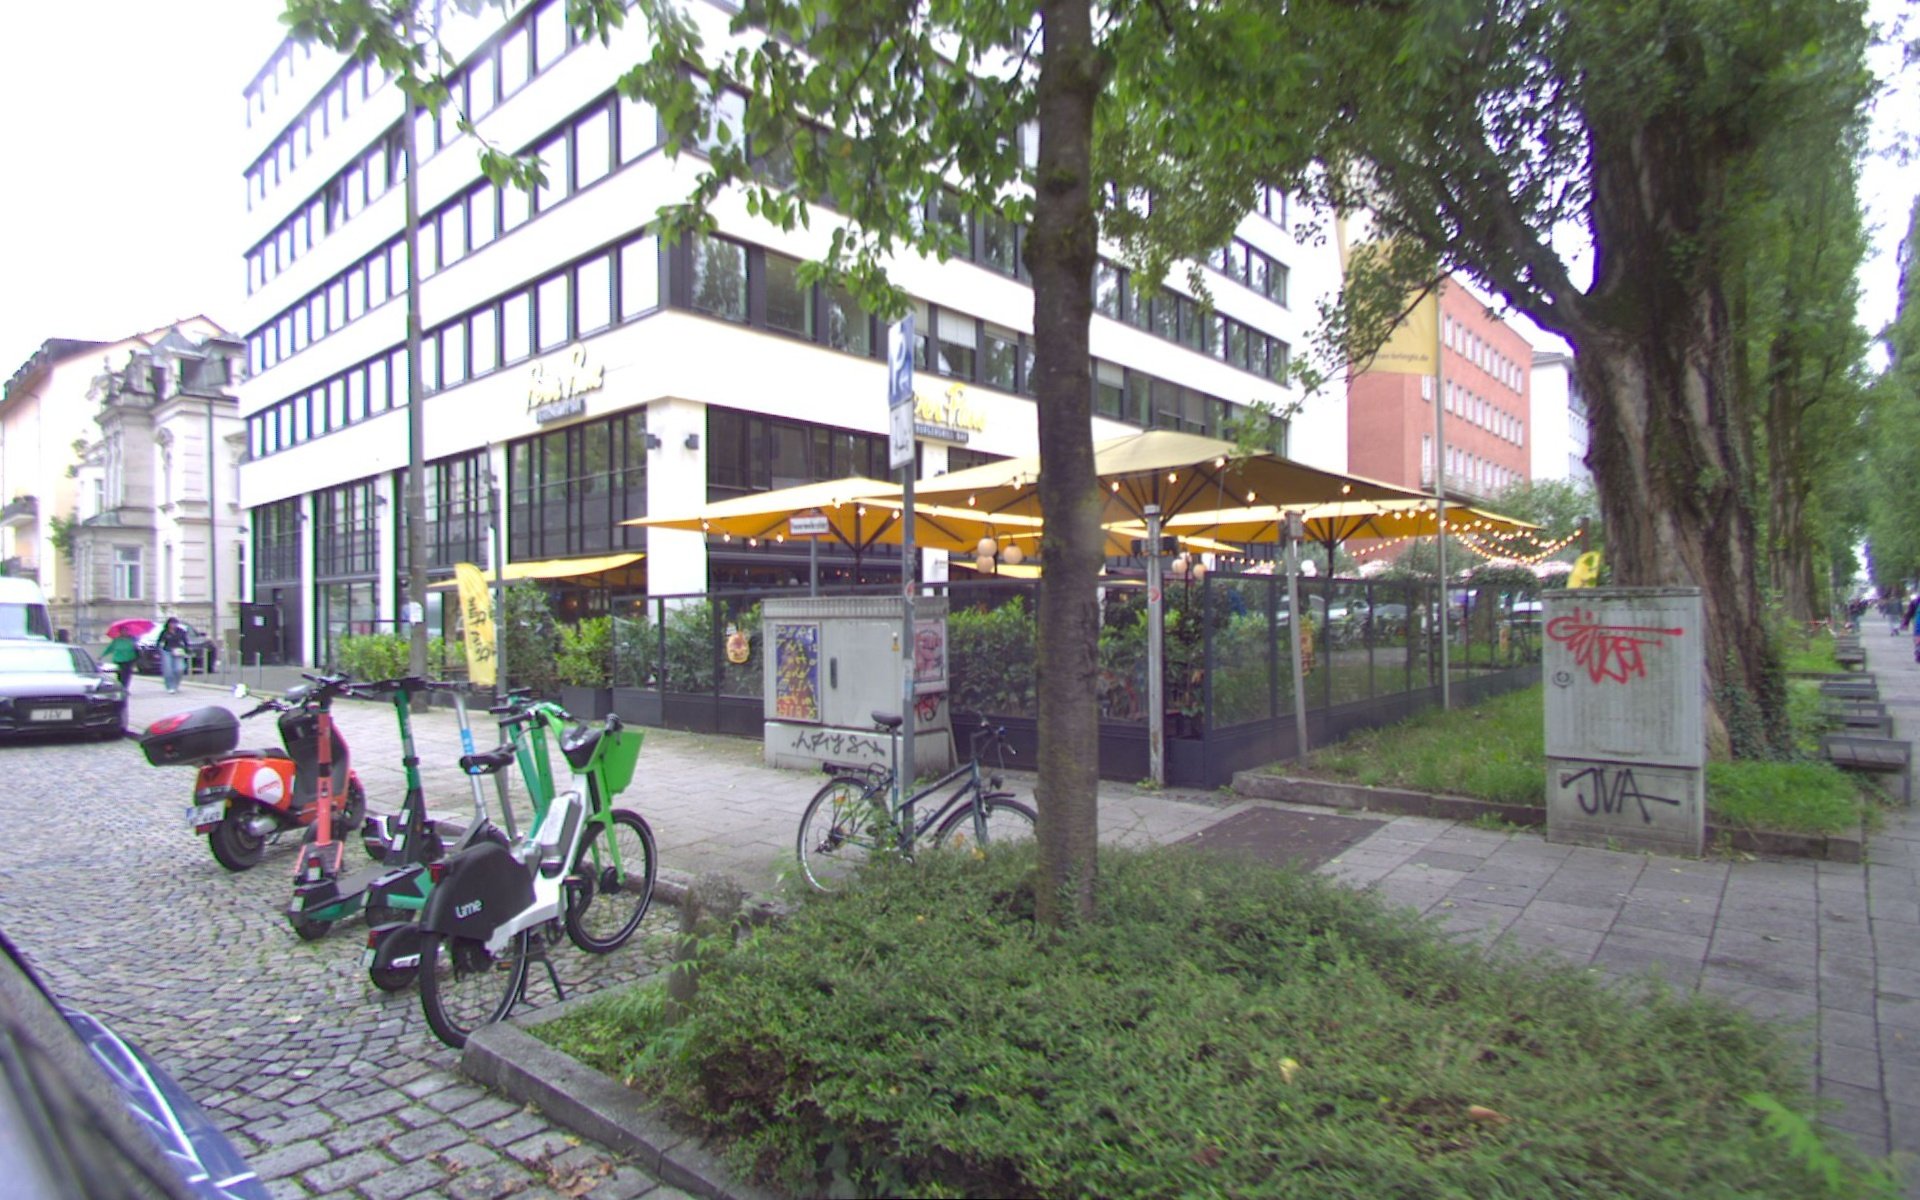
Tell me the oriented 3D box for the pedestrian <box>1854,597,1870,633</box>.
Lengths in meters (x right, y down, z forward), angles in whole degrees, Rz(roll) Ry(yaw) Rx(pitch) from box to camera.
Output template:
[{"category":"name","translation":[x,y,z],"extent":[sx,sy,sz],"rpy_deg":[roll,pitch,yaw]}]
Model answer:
[{"category":"pedestrian","translation":[42.441,0.707,47.616],"extent":[0.514,1.705,0.505],"rpy_deg":[0,-1,-45]}]

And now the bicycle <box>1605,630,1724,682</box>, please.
[{"category":"bicycle","translation":[13.353,1.047,19.205],"extent":[1.800,0.919,0.612],"rpy_deg":[-2,-1,39]}]

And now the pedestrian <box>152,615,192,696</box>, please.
[{"category":"pedestrian","translation":[-17.657,1.232,22.679],"extent":[0.649,1.761,0.569],"rpy_deg":[-1,-1,36]}]

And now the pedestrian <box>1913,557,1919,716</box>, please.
[{"category":"pedestrian","translation":[11.878,0.437,11.911],"extent":[0.697,1.922,0.641],"rpy_deg":[-1,-1,18]}]

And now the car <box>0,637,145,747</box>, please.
[{"category":"car","translation":[-13.466,1.243,14.645],"extent":[4.115,1.340,1.972],"rpy_deg":[-1,-1,42]}]

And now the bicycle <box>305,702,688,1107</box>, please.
[{"category":"bicycle","translation":[-1.769,1.077,4.197],"extent":[0.548,1.152,1.757],"rpy_deg":[-1,-1,10]}]

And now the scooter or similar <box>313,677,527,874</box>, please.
[{"category":"scooter or similar","translation":[-3.483,1.109,6.538],"extent":[1.237,1.189,0.389],"rpy_deg":[-1,-1,10]}]

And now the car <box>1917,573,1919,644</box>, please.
[{"category":"car","translation":[40.411,0.334,40.752],"extent":[2.198,3.040,5.921],"rpy_deg":[-2,-1,39]}]

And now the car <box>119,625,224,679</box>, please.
[{"category":"car","translation":[-24.844,1.586,31.841],"extent":[4.168,1.544,1.887],"rpy_deg":[-2,-1,41]}]

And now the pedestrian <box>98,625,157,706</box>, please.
[{"category":"pedestrian","translation":[-18.421,1.432,22.392],"extent":[0.800,1.719,0.916],"rpy_deg":[-2,-1,43]}]

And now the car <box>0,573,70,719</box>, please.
[{"category":"car","translation":[-18.800,0.858,19.190],"extent":[5.844,2.510,2.039],"rpy_deg":[-2,-1,40]}]

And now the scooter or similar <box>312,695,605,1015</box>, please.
[{"category":"scooter or similar","translation":[-2.276,1.085,4.772],"extent":[0.366,1.153,1.422],"rpy_deg":[-1,-1,17]}]

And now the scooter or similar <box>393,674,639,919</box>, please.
[{"category":"scooter or similar","translation":[-2.442,1.027,5.666],"extent":[0.327,1.153,1.234],"rpy_deg":[-2,-1,41]}]

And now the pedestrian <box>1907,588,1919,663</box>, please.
[{"category":"pedestrian","translation":[22.028,0.567,22.972],"extent":[0.637,1.705,0.736],"rpy_deg":[0,-1,-45]}]

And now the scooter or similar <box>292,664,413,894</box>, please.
[{"category":"scooter or similar","translation":[-3.943,1.093,6.636],"extent":[0.322,1.282,1.361],"rpy_deg":[-1,-1,-15]}]

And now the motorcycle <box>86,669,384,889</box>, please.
[{"category":"motorcycle","translation":[-4.867,1.126,7.005],"extent":[0.759,1.205,1.993],"rpy_deg":[0,-2,-5]}]

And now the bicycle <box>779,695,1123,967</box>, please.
[{"category":"bicycle","translation":[-0.105,1.041,5.024],"extent":[1.761,1.030,0.546],"rpy_deg":[-2,-1,40]}]

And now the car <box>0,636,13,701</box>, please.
[{"category":"car","translation":[-23.422,1.568,23.408],"extent":[4.000,1.441,1.972],"rpy_deg":[-2,-2,43]}]

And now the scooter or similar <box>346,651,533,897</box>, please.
[{"category":"scooter or similar","translation":[-3.109,0.979,6.148],"extent":[0.324,1.282,1.247],"rpy_deg":[-1,-1,10]}]
